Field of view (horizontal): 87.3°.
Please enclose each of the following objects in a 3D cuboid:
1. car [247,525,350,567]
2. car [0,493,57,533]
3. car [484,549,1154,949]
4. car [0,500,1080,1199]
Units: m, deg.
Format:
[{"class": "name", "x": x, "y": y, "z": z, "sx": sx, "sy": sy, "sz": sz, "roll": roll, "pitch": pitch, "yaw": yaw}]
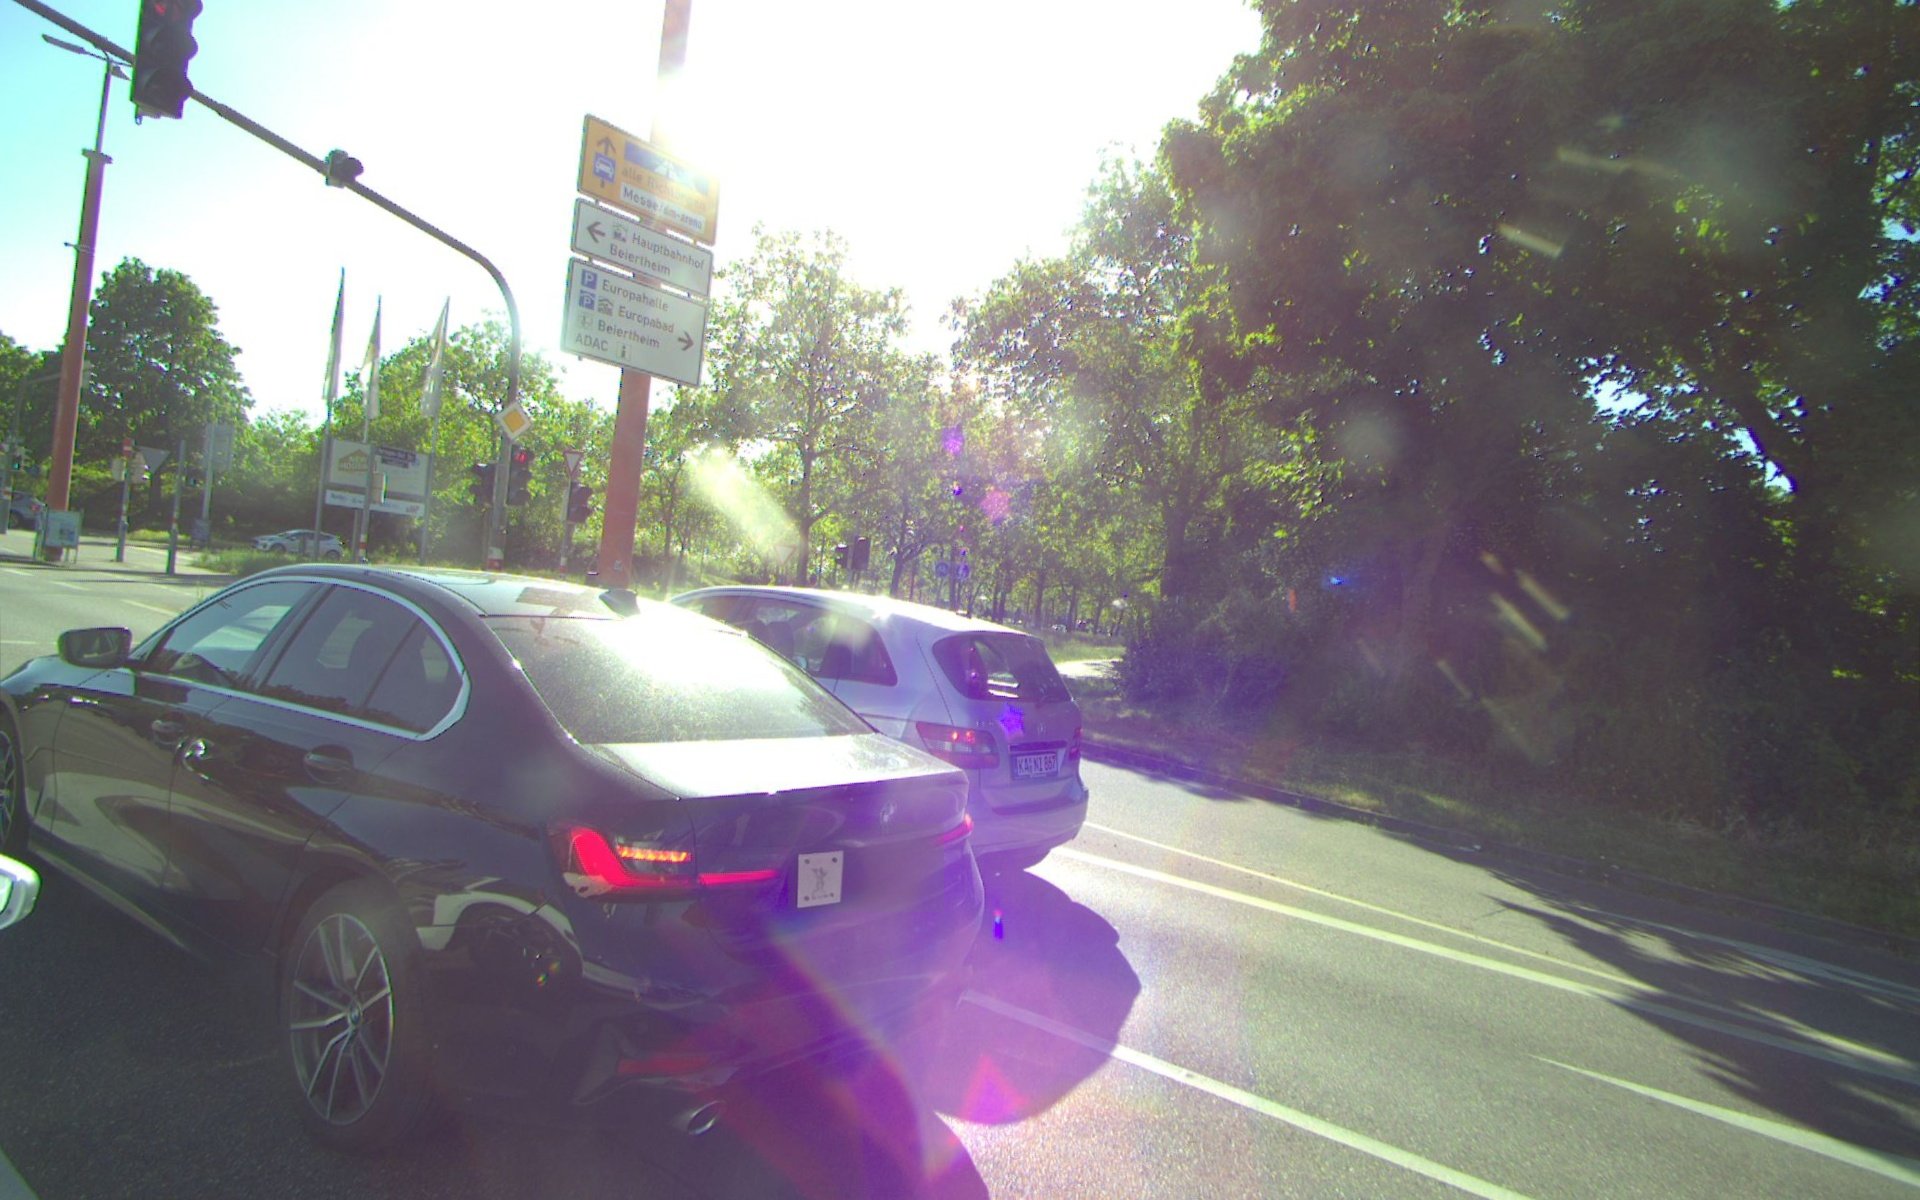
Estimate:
[{"class": "car", "x": -33.600, "y": -2.726, "z": 51.169, "sx": 1.659, "sy": 1.485, "sz": 3.981, "roll": 7, "pitch": -1, "yaw": 38}, {"class": "car", "x": -42.874, "y": -4.045, "z": 44.241, "sx": 4.276, "sy": 1.503, "sz": 1.774, "roll": 7, "pitch": 0, "yaw": -26}, {"class": "car", "x": -1.019, "y": 0.706, "z": 6.475, "sx": 3.963, "sy": 1.597, "sz": 1.741, "roll": 7, "pitch": 0, "yaw": 33}, {"class": "car", "x": -1.984, "y": 0.546, "z": 3.850, "sx": 4.372, "sy": 1.415, "sz": 1.871, "roll": 7, "pitch": 0, "yaw": 34}]
